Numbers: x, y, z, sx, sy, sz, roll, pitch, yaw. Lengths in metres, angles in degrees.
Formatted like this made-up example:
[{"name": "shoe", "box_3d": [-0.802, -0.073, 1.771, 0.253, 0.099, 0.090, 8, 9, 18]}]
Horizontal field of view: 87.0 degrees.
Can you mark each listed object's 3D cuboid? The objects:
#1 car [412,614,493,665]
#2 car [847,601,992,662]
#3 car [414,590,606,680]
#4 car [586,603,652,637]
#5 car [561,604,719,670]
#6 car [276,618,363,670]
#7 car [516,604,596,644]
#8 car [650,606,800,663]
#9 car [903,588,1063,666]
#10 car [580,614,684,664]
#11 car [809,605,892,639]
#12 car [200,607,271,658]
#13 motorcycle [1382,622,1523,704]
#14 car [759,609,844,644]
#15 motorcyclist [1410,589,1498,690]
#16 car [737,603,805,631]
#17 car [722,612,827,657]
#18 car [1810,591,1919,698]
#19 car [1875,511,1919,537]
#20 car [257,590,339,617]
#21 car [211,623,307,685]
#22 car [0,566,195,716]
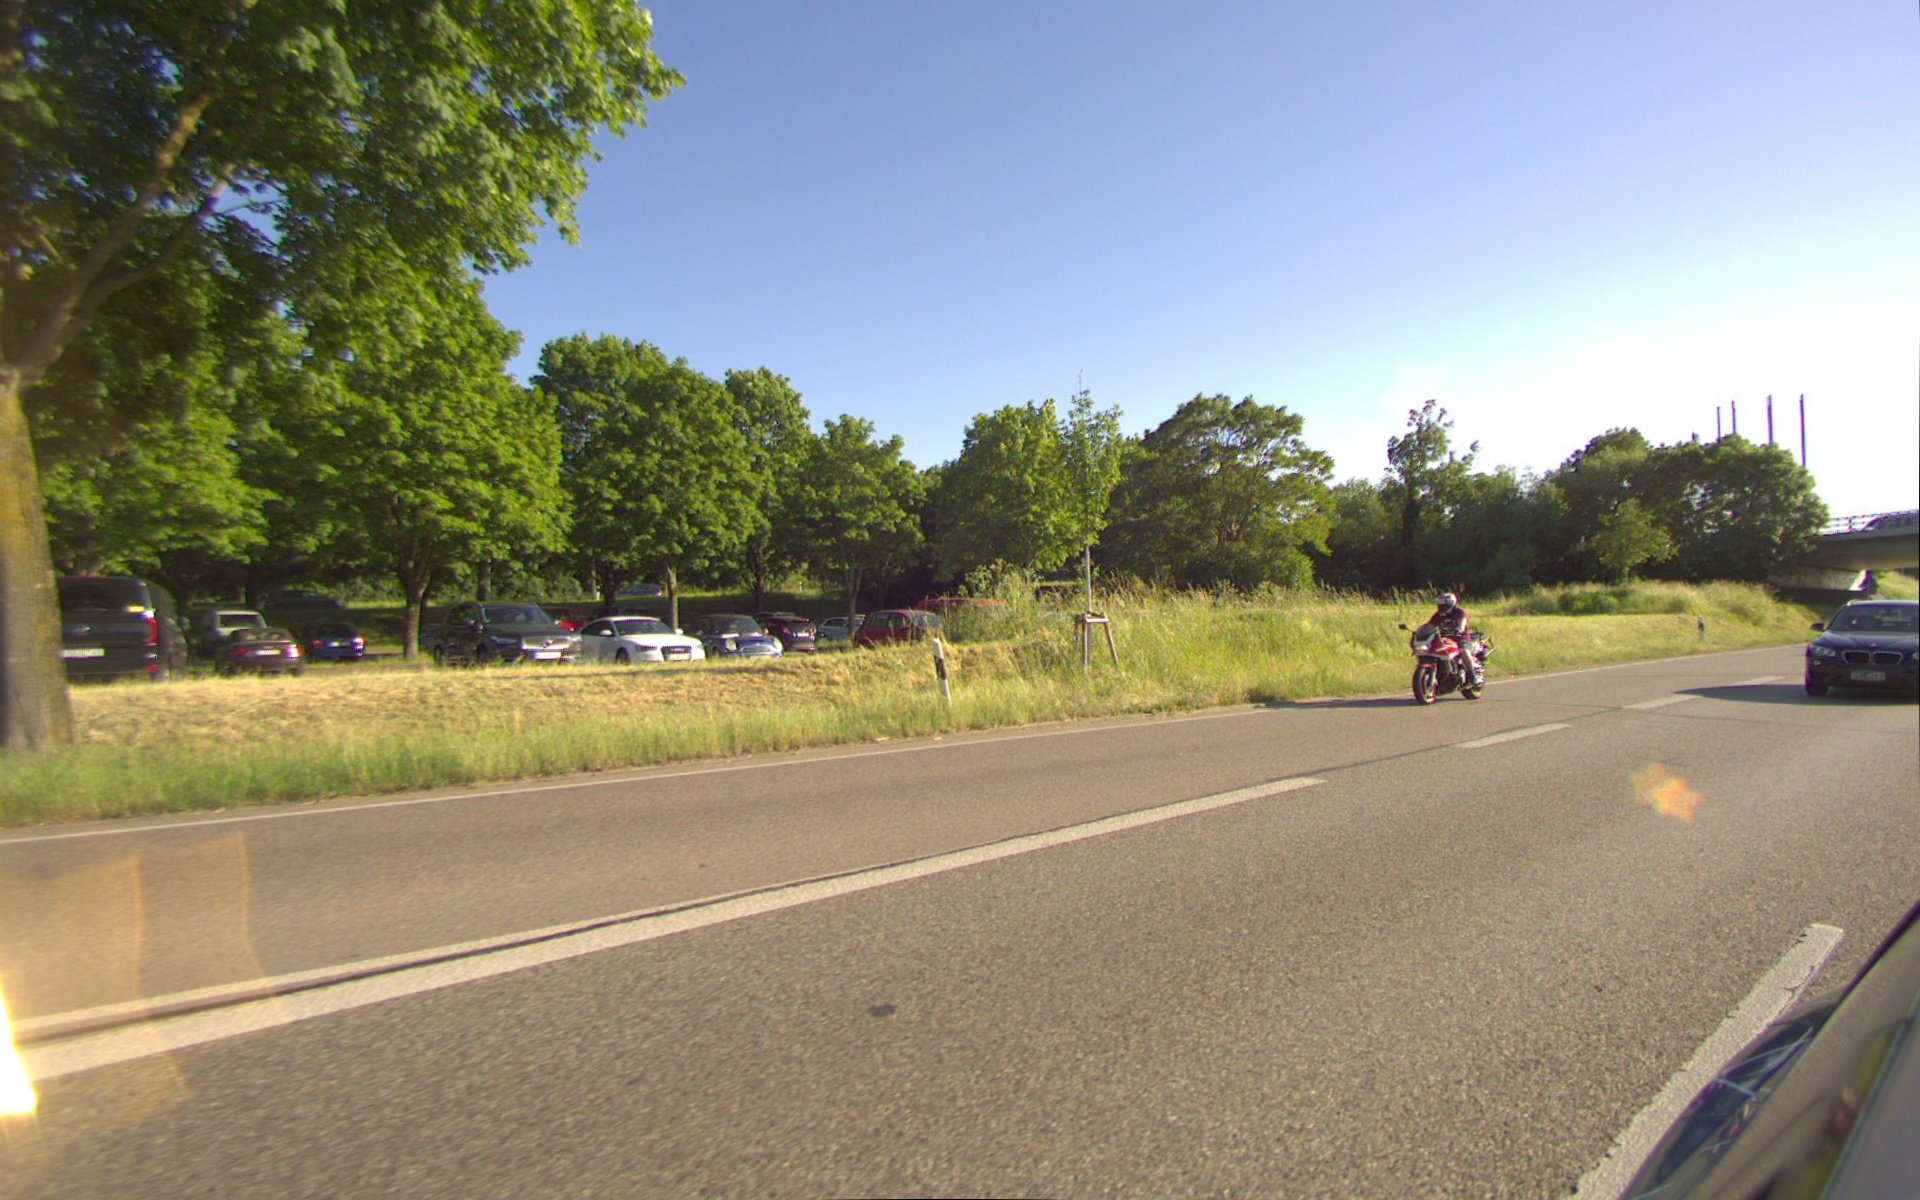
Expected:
[{"name": "car", "box_3d": [-18.719, 1.483, 37.227, 2.001, 1.684, 4.656, -2, -2, -34]}, {"name": "car", "box_3d": [-1.193, 0.907, 28.319, 1.927, 1.520, 4.011, -1, -2, -41]}, {"name": "car", "box_3d": [-9.763, 0.780, 21.762, 2.189, 1.700, 4.855, -1, -2, -45]}, {"name": "car", "box_3d": [-17.658, 1.057, 52.345, 1.757, 1.580, 4.218, -1, -1, -41]}, {"name": "car", "box_3d": [-7.461, 0.879, 23.360, 1.927, 1.327, 4.217, -1, -2, -41]}, {"name": "car", "box_3d": [-21.913, 1.517, 34.529, 2.002, 1.577, 4.864, -1, -2, -38]}, {"name": "car", "box_3d": [-20.074, 1.140, 50.166, 4.582, 1.798, 1.917, 1, 2, 43]}, {"name": "car", "box_3d": [-5.926, 0.884, 25.219, 1.926, 1.233, 4.218, -1, -2, -40]}, {"name": "car", "box_3d": [0.605, 0.778, 30.448, 1.993, 2.048, 4.793, -4, 2, -43]}, {"name": "car", "box_3d": [-11.221, 1.348, 34.416, 1.711, 1.530, 4.287, -2, -2, -43]}, {"name": "car", "box_3d": [-5.315, 1.048, 48.612, 1.836, 1.441, 4.113, -4, 2, -43]}, {"name": "car", "box_3d": [-30.035, 1.274, 41.883, 1.923, 1.889, 5.199, -1, 1, -41]}, {"name": "motorcycle", "box_3d": [7.501, 0.905, 15.337, 2.784, 1.083, 0.818, -1, 0, -39]}, {"name": "car", "box_3d": [-7.343, 1.190, 46.544, 1.836, 1.441, 4.113, -4, 2, -43]}, {"name": "motorcyclist", "box_3d": [7.468, 0.565, 15.298, 1.074, 1.466, 0.818, 0, 0, -39]}, {"name": "car", "box_3d": [-10.805, 0.971, 57.722, 1.836, 1.441, 4.113, -4, 2, -43]}, {"name": "car", "box_3d": [-7.050, 1.284, 38.233, 1.990, 1.476, 4.113, -4, 2, -43]}, {"name": "car", "box_3d": [15.641, 0.639, 16.653, 4.497, 1.525, 1.702, -1, 0, -39]}, {"name": "car", "box_3d": [78.932, -6.284, 83.474, 2.165, 1.907, 4.732, -1, 0, -11]}, {"name": "car", "box_3d": [-40.179, 0.200, 61.442, 3.933, 1.597, 1.905, 0, -1, -43]}, {"name": "car", "box_3d": [-19.355, 1.417, 27.870, 1.947, 1.427, 4.134, -1, 1, -38]}, {"name": "car", "box_3d": [-14.573, 0.698, 17.246, 2.053, 2.163, 5.049, -2, -2, -33]}]
